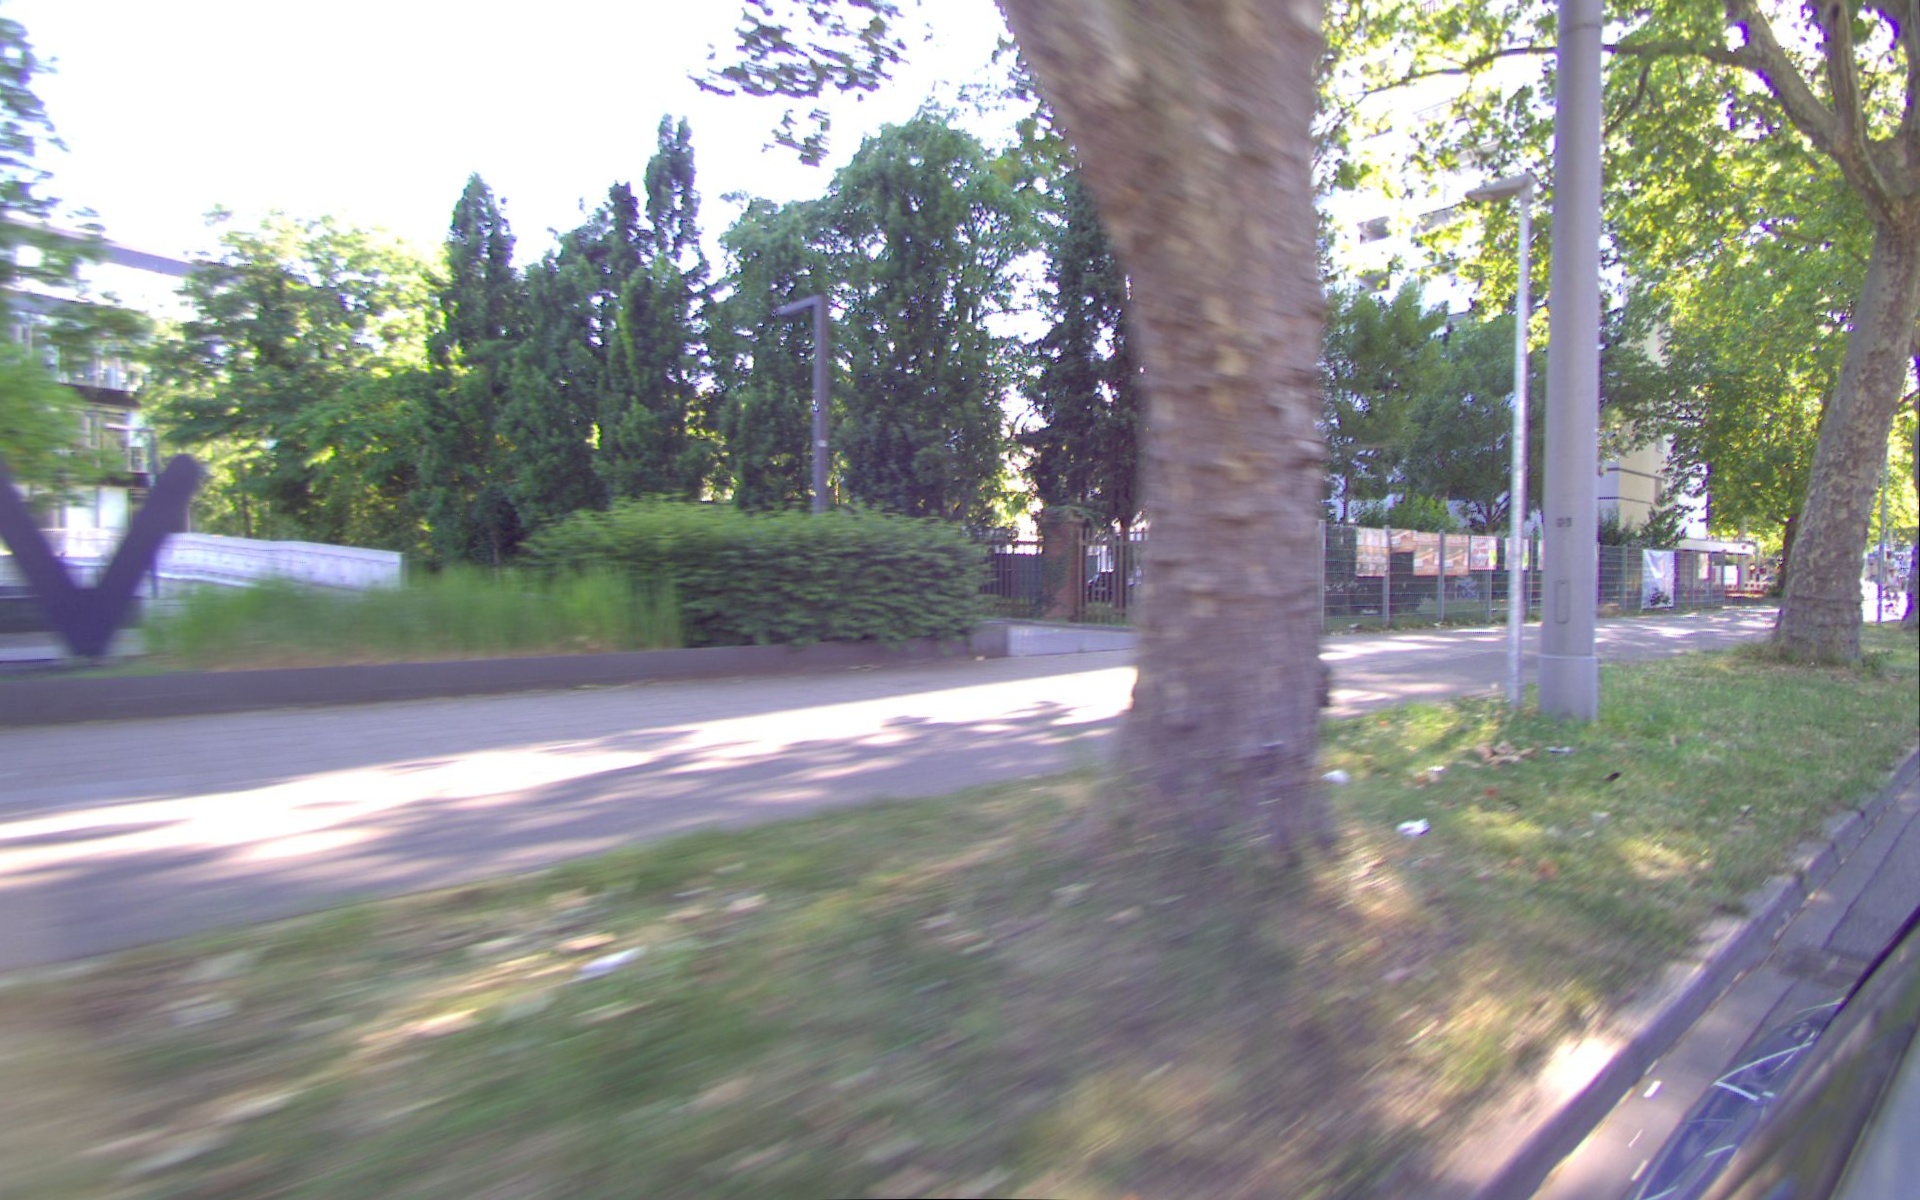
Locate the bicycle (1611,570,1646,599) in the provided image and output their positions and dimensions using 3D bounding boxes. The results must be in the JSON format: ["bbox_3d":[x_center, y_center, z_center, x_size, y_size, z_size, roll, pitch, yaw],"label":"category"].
[{"bbox_3d":[28.296,-0.676,42.844,1.789,1.192,0.790,-2,0,-41],"label":"bicycle"}]

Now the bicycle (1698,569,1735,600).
[{"bbox_3d":[30.151,-0.614,40.329,1.789,1.192,0.790,-2,0,-41],"label":"bicycle"}]

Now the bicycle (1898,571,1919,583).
[{"bbox_3d":[86.715,-2.057,92.196,1.804,1.067,0.531,0,1,24],"label":"bicycle"}]

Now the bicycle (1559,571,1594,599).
[{"bbox_3d":[26.904,-0.660,44.157,1.789,1.192,0.790,-2,0,-41],"label":"bicycle"}]

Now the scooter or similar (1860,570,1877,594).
[{"bbox_3d":[49.923,-0.997,55.613,1.269,1.272,0.561,-2,4,-45],"label":"scooter or similar"}]

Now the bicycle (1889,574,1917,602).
[{"bbox_3d":[35.838,-0.460,38.448,1.736,1.039,0.604,-2,2,-42],"label":"bicycle"}]

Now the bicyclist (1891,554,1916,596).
[{"bbox_3d":[35.883,-0.952,38.483,0.845,1.570,0.604,-1,2,-42],"label":"bicyclist"}]

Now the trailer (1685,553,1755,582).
[{"bbox_3d":[64.619,-2.760,86.146,4.473,2.403,1.896,1,1,28],"label":"trailer"}]

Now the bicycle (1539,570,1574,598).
[{"bbox_3d":[26.471,-0.728,44.886,1.789,1.192,0.790,-2,0,-41],"label":"bicycle"}]

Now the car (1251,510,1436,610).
[{"bbox_3d":[10.897,-1.087,28.479,6.233,2.530,1.998,-2,0,-39],"label":"car"}]
